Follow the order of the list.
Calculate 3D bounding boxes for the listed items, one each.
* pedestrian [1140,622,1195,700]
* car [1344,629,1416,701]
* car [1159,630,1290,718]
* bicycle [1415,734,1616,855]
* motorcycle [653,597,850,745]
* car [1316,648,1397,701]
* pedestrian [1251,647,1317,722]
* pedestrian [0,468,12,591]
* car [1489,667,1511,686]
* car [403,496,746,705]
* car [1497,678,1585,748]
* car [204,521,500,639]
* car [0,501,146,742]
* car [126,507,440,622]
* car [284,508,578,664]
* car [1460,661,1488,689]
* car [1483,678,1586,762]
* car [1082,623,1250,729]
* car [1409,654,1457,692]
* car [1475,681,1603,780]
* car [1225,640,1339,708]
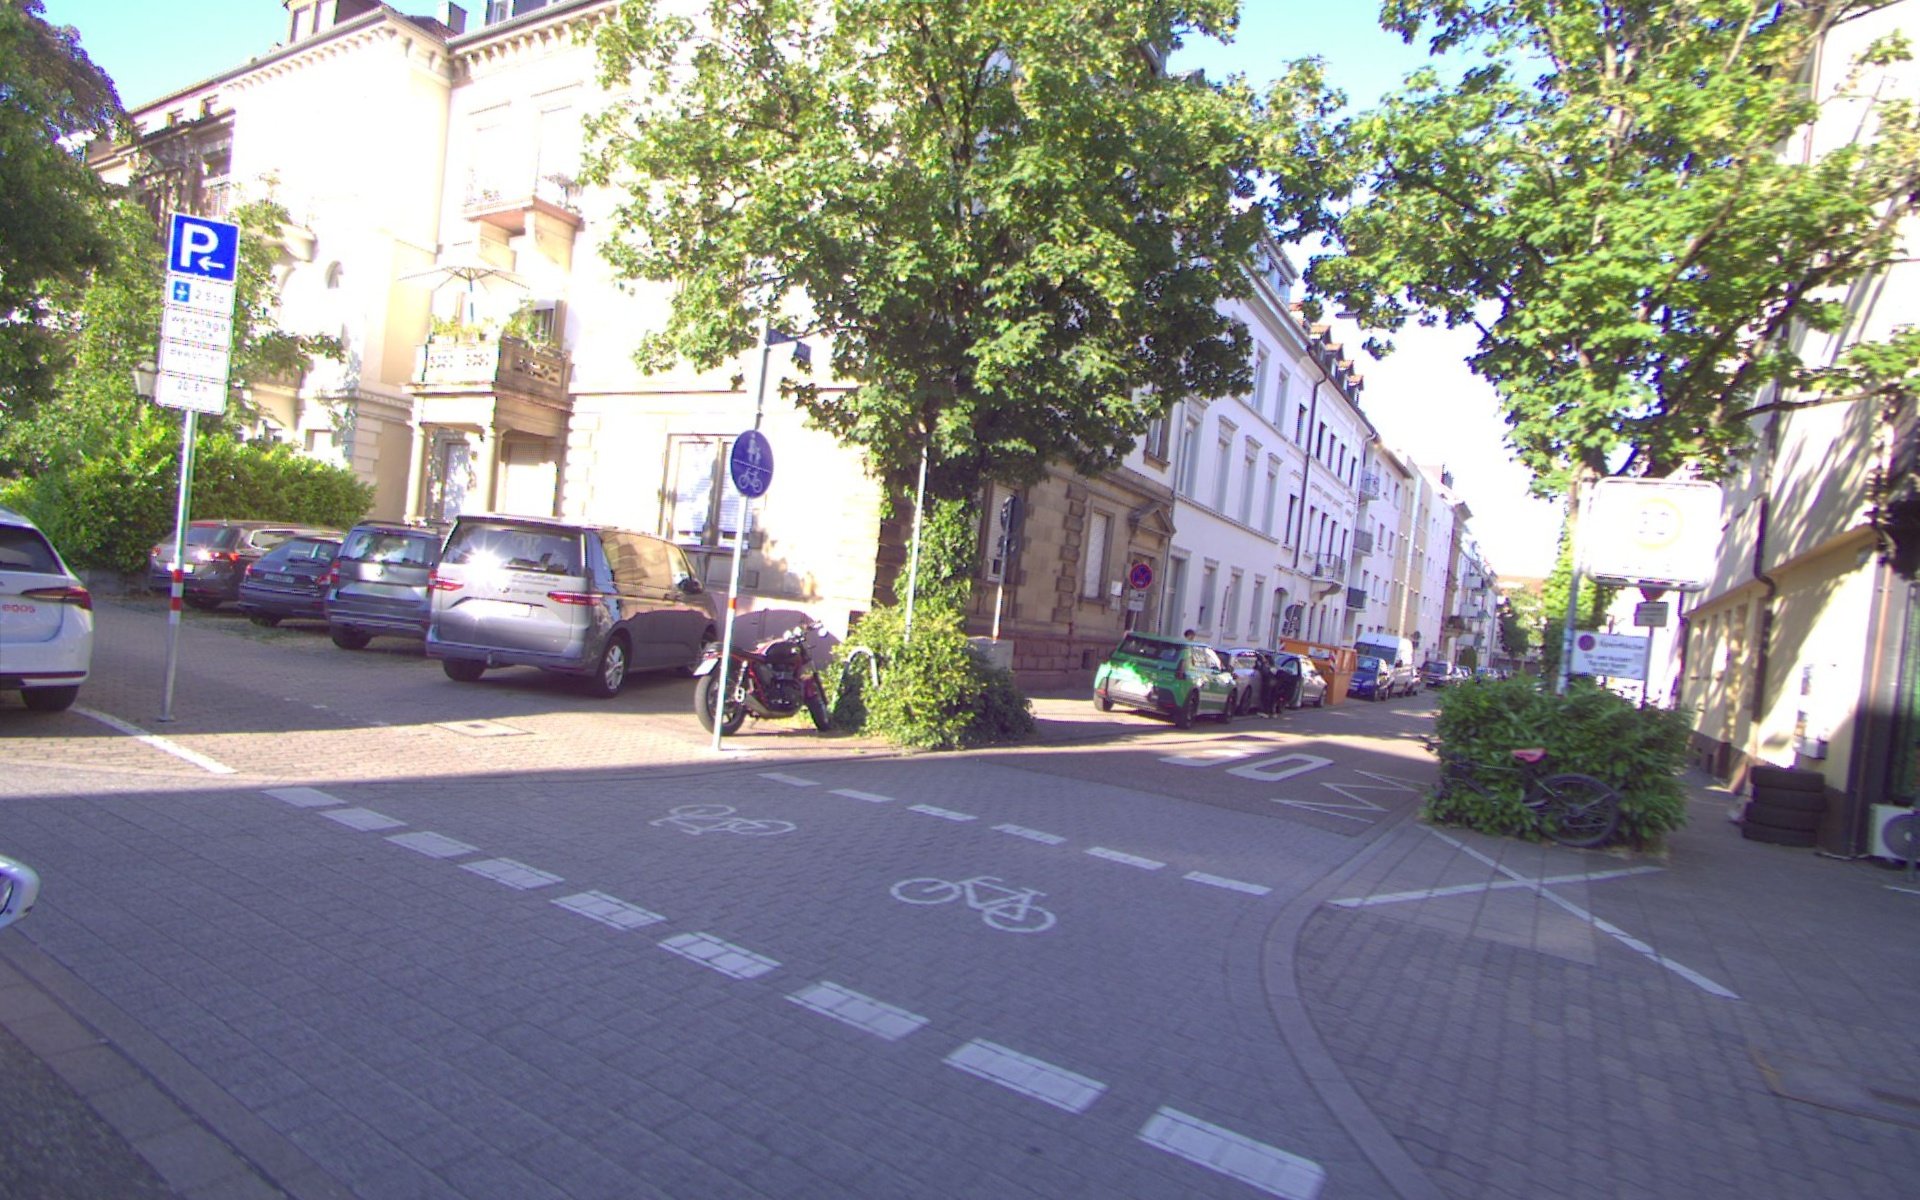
[{"bbox_3d":[4.751,1.383,23.101,0.554,1.664,0.944,6,1,-36],"label":"pedestrian"},{"bbox_3d":[18.200,2.819,43.462,1.967,2.706,4.572,6,0,31],"label":"car"},{"bbox_3d":[6.122,1.682,22.963,1.742,1.559,3.993,9,1,30],"label":"car"},{"bbox_3d":[5.051,1.740,9.191,1.506,0.777,0.485,6,0,33],"label":"bicycle"},{"bbox_3d":[-2.011,0.690,10.113,0.775,1.255,2.162,6,0,21],"label":"motorcycle"},{"bbox_3d":[15.097,2.817,38.119,1.967,1.650,4.572,6,0,31],"label":"car"},{"bbox_3d":[7.259,1.879,22.515,0.996,1.509,1.229,6,0,31],"label":"pedestrian"},{"bbox_3d":[-14.694,-1.107,14.696,1.070,1.796,0.822,6,1,28],"label":"pedestrian"},{"bbox_3d":[64.648,9.143,120.420,1.966,2.038,3.993,6,0,30],"label":"car"},{"bbox_3d":[-4.464,0.052,12.693,1.884,1.923,4.941,6,-1,5],"label":"car"},{"bbox_3d":[14.984,2.847,25.864,1.711,1.472,3.991,5,-1,32],"label":"car"},{"bbox_3d":[-9.341,-0.289,15.899,1.684,1.460,4.099,6,1,9],"label":"car"},{"bbox_3d":[-7.978,-0.083,7.260,4.545,1.496,1.823,6,0,32],"label":"car"},{"bbox_3d":[-11.174,-0.528,17.025,1.758,1.530,4.250,6,1,13],"label":"car"},{"bbox_3d":[-7.221,-0.167,14.277,1.754,1.721,4.099,6,0,2],"label":"car"},{"bbox_3d":[42.609,6.216,83.332,1.734,2.038,3.993,6,0,30],"label":"car"},{"bbox_3d":[12.727,2.566,22.176,1.711,1.472,3.991,5,-1,32],"label":"car"},{"bbox_3d":[3.951,1.407,18.783,1.742,1.502,3.993,9,1,30],"label":"car"},{"bbox_3d":[28.648,4.431,60.852,1.967,1.839,4.576,6,-2,32],"label":"car"},{"bbox_3d":[10.509,2.257,18.174,1.711,1.376,3.991,5,-1,32],"label":"car"},{"bbox_3d":[8.878,2.022,27.527,1.967,1.504,3.992,6,-1,31],"label":"car"}]
